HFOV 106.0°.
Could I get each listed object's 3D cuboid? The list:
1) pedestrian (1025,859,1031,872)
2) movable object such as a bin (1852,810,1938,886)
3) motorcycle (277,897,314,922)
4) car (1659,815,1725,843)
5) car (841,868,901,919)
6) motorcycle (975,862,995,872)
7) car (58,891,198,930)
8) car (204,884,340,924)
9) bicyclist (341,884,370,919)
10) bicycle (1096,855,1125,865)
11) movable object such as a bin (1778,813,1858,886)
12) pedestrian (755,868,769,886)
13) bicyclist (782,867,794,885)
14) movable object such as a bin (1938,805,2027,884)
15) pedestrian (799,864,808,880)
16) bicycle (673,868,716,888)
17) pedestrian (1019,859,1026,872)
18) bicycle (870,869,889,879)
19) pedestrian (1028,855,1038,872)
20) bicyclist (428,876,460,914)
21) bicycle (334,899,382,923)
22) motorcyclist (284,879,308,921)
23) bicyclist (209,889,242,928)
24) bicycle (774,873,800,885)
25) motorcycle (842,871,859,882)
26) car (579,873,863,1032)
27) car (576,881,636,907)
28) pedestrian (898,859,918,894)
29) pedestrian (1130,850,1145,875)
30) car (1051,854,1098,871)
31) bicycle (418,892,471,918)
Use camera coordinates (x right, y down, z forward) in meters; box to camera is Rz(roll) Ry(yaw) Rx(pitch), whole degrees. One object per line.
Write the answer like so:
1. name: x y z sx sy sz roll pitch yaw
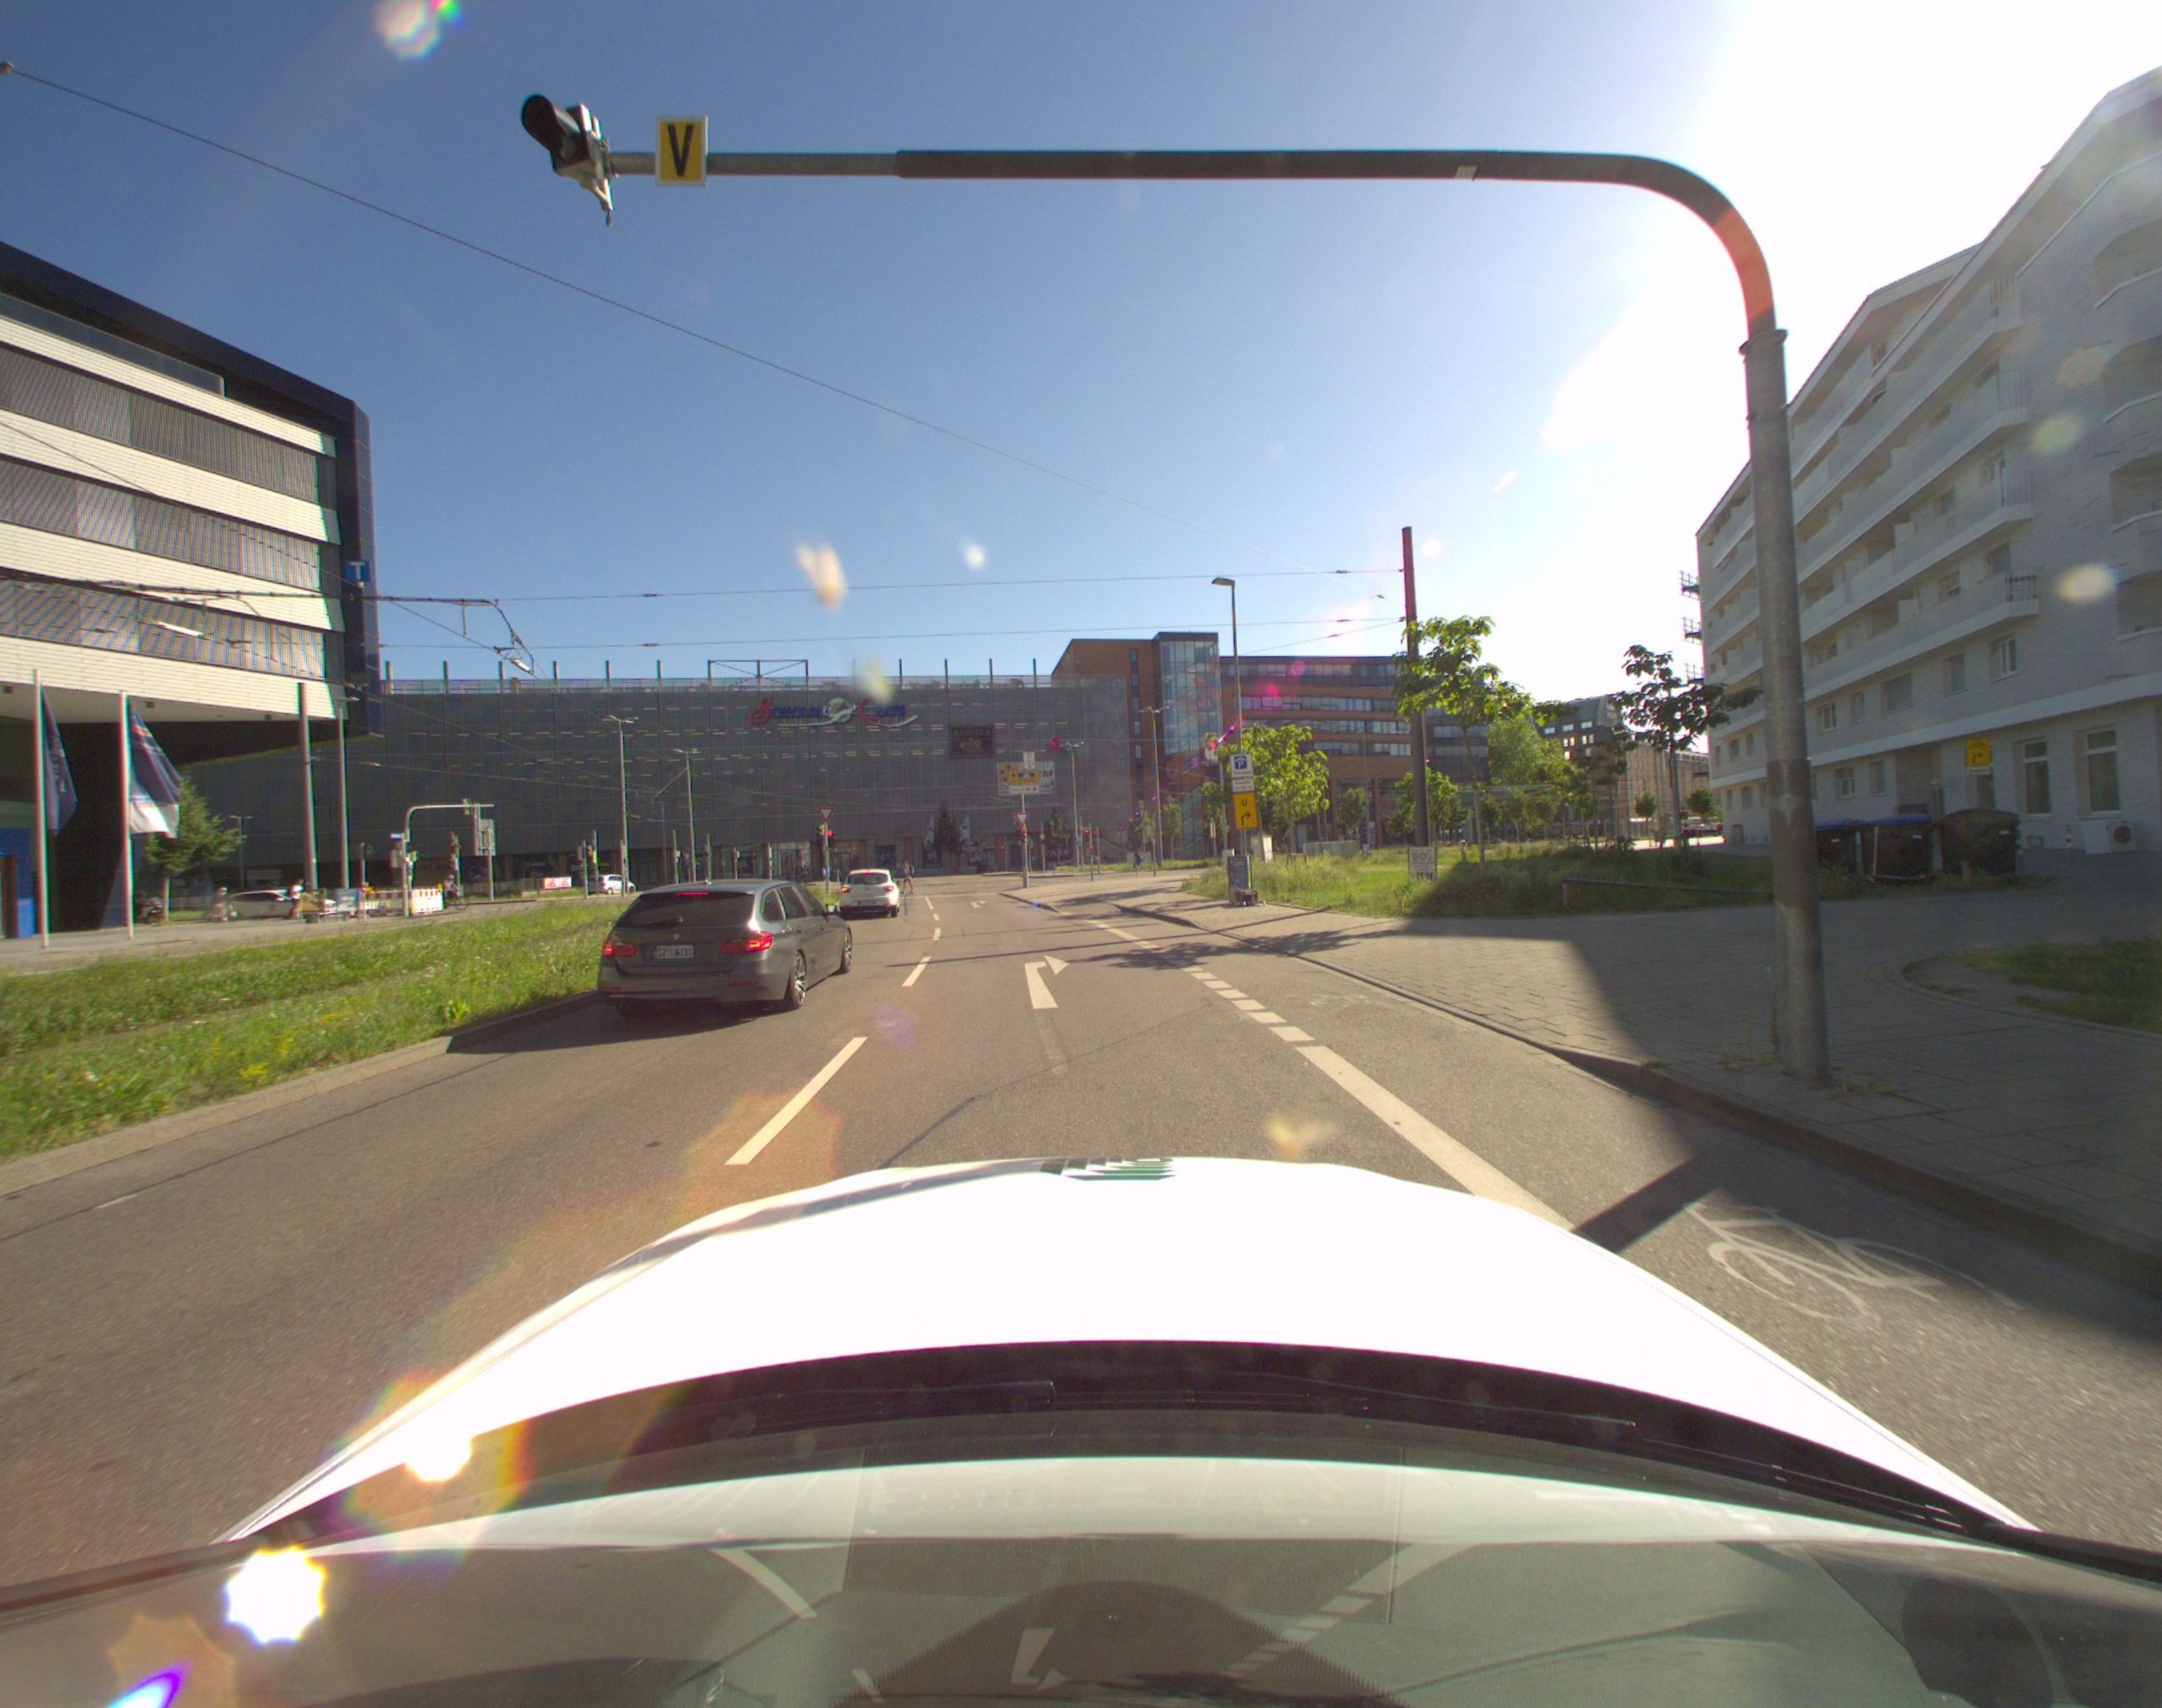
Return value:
1. pedestrian: -6.064 1.345 93.391 0.590 1.462 0.655 -2 0 -13
2. movable object such as a bin: 15.909 -0.123 15.929 1.329 1.398 1.097 -3 0 -44
3. motorcycle: -38.190 2.696 39.601 1.187 1.121 0.481 -3 0 -13
4. car: 48.029 -1.948 64.047 3.949 2.013 2.012 -3 -1 41
5. car: -6.352 1.136 24.940 1.633 1.423 3.766 0 -1 -12
6. motorcycle: -11.264 1.510 95.279 2.204 1.042 1.057 -2 0 -12
7. car: -50.218 2.947 43.014 4.634 1.718 1.833 -2 1 -10
8. car: -41.000 2.517 41.382 4.496 1.635 1.830 -3 1 -14
9. bicyclist: -35.834 2.345 40.211 0.783 1.648 0.687 -2 0 -14
10. bicycle: 3.575 0.730 99.023 3.356 1.077 1.114 -2 0 -7
11. movable object such as a bin: 14.842 -0.091 16.392 1.311 1.398 1.058 -3 0 -44
12. pedestrian: -33.136 2.411 84.595 0.894 1.868 0.826 -3 -1 30
13. bicyclist: -30.536 2.291 84.911 0.805 1.803 0.850 -3 -1 36
14. movable object such as a bin: 16.855 -0.170 15.265 1.097 1.398 1.019 -3 0 -44
15. pedestrian: -31.247 2.050 91.813 0.849 1.763 0.617 -3 0 -13
16. bicycle: -42.578 2.606 89.841 3.990 2.013 1.324 -2 0 -12
17. pedestrian: -6.667 1.300 92.971 0.590 1.534 0.655 -2 0 -13
18. bicycle: -22.822 2.236 92.368 2.028 1.059 1.140 -3 0 -13
19. pedestrian: -5.229 1.042 88.625 0.856 1.738 0.749 -3 -1 -19
20. bicyclist: -31.989 2.055 40.889 0.903 1.859 0.851 -3 0 -12
21. bicycle: -35.795 2.822 40.323 1.579 1.107 0.730 1 -1 -16
22. motorcyclist: -38.193 2.241 39.614 0.628 2.013 0.495 -2 0 -12
23. bicyclist: -41.280 2.635 39.324 0.765 1.789 0.759 -2 0 -16
24. bicycle: -30.603 2.570 84.827 1.032 1.070 2.259 -3 0 37
25. motorcycle: -24.724 2.417 87.249 1.648 1.059 0.497 -3 0 -3
26. car: -3.916 0.953 9.776 1.731 1.423 4.459 0 -1 -5
27. car: -36.312 3.040 62.378 1.741 1.794 4.011 -1 -1 10
28. pedestrian: -8.801 1.138 41.386 0.886 1.707 0.709 -2 0 -13
29. pedestrian: 3.905 0.608 56.319 0.807 1.708 0.758 -2 0 -13
30. car: -0.660 0.887 82.205 4.491 1.494 1.488 -3 0 -13
31. bicycle: -31.945 2.549 40.897 1.830 1.116 0.850 -3 0 -12
